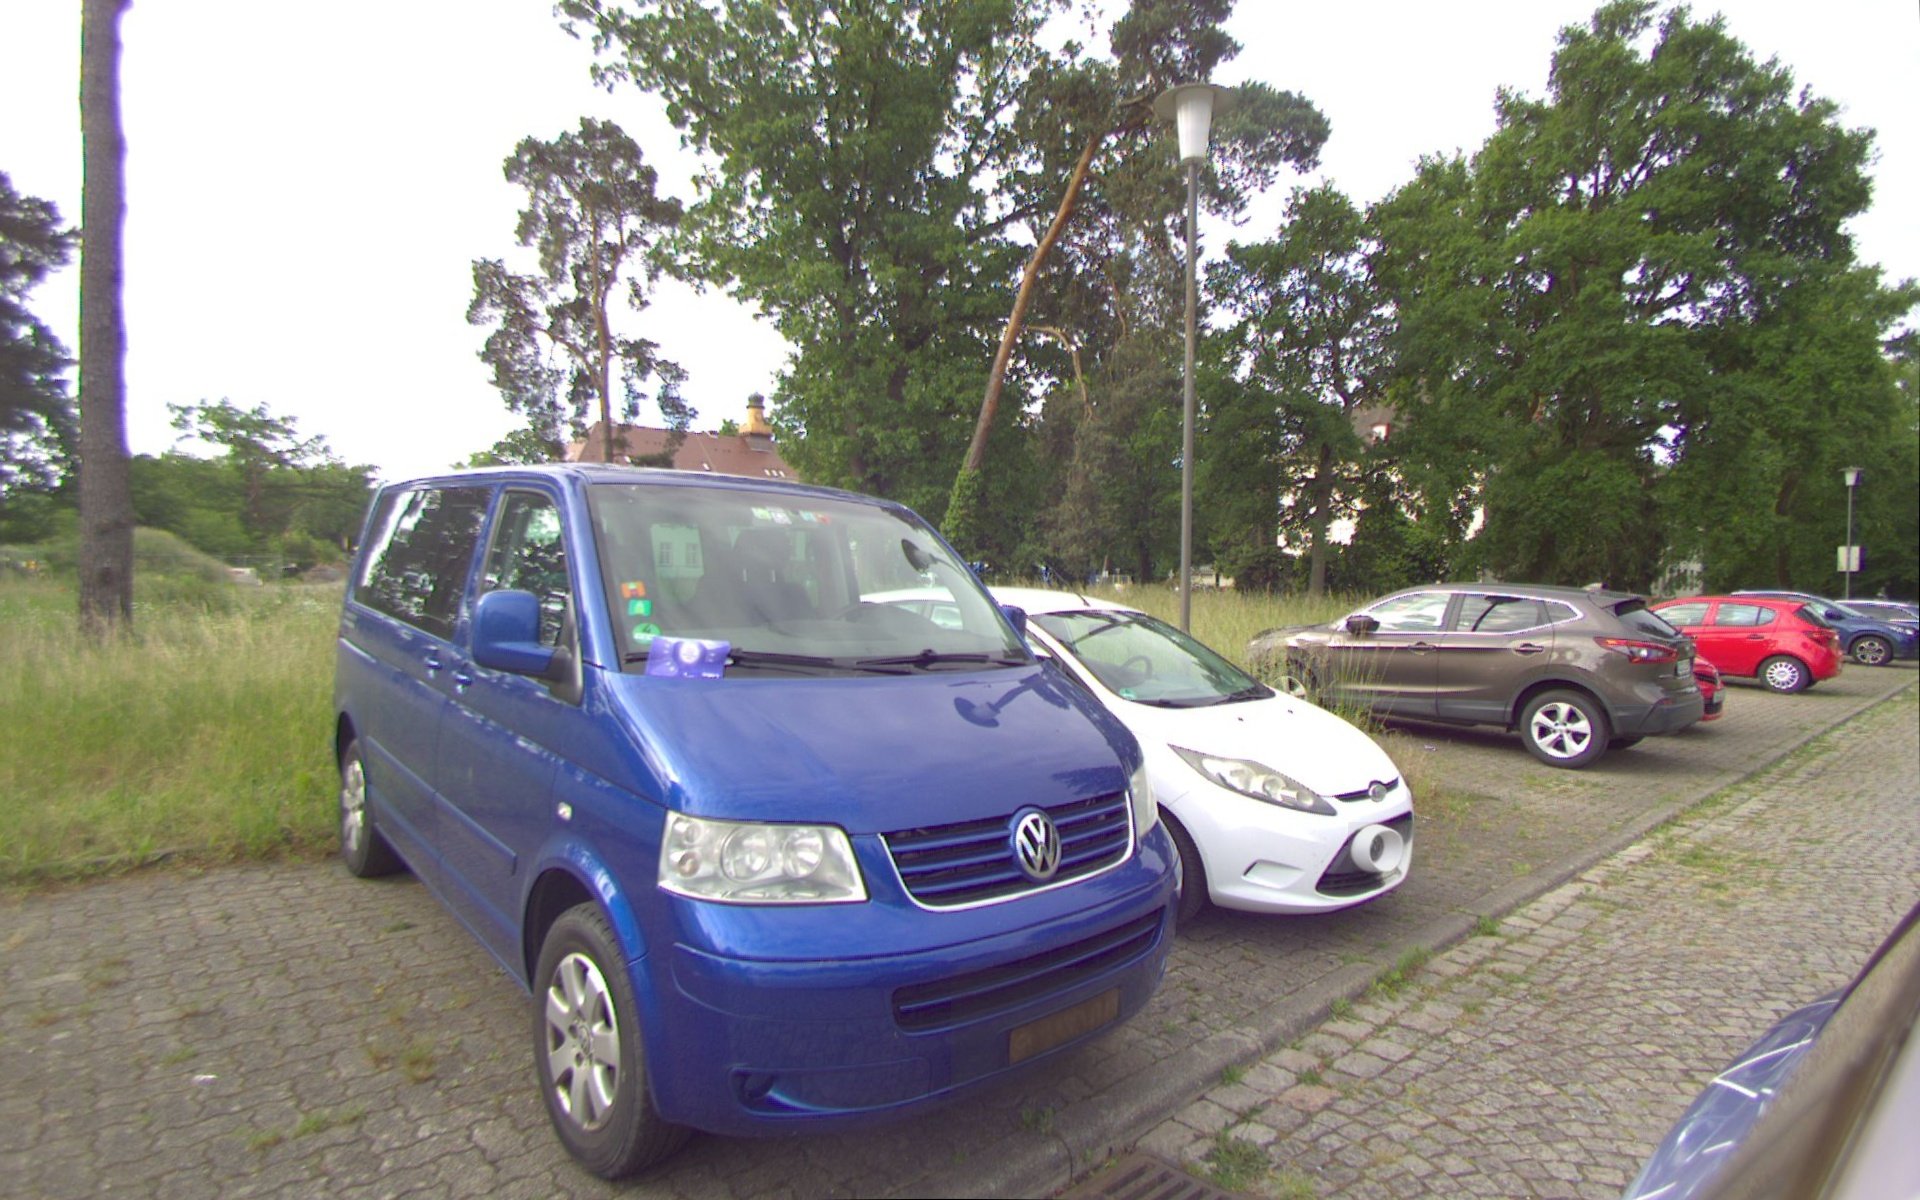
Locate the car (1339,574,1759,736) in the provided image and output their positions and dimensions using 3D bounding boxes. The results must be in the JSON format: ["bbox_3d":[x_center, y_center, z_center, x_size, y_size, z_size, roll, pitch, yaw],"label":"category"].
[{"bbox_3d":[6.935,0.512,12.259,1.735,1.504,4.015,0,3,-41],"label":"car"}]

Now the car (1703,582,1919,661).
[{"bbox_3d":[20.143,0.445,23.713,1.555,1.557,4.146,0,3,-42],"label":"car"}]

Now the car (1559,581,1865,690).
[{"bbox_3d":[12.563,0.504,17.092,1.555,1.478,3.891,0,3,-42],"label":"car"}]

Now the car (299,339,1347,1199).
[{"bbox_3d":[-1.170,0.378,4.265,1.969,1.969,4.816,0,3,-42],"label":"car"}]

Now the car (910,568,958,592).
[{"bbox_3d":[-2.299,-1.739,89.187,1.994,2.039,3.937,2,1,44],"label":"car"}]

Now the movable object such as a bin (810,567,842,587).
[{"bbox_3d":[-14.257,-2.476,107.771,2.933,2.039,1.552,0,1,-41],"label":"movable object such as a bin"}]

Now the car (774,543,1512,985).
[{"bbox_3d":[0.752,0.548,5.892,1.810,1.489,3.871,0,5,-42],"label":"car"}]

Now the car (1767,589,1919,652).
[{"bbox_3d":[23.773,0.518,26.515,1.555,1.443,3.874,0,3,-42],"label":"car"}]

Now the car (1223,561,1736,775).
[{"bbox_3d":[5.056,0.486,10.336,1.791,1.618,4.267,0,3,-42],"label":"car"}]
